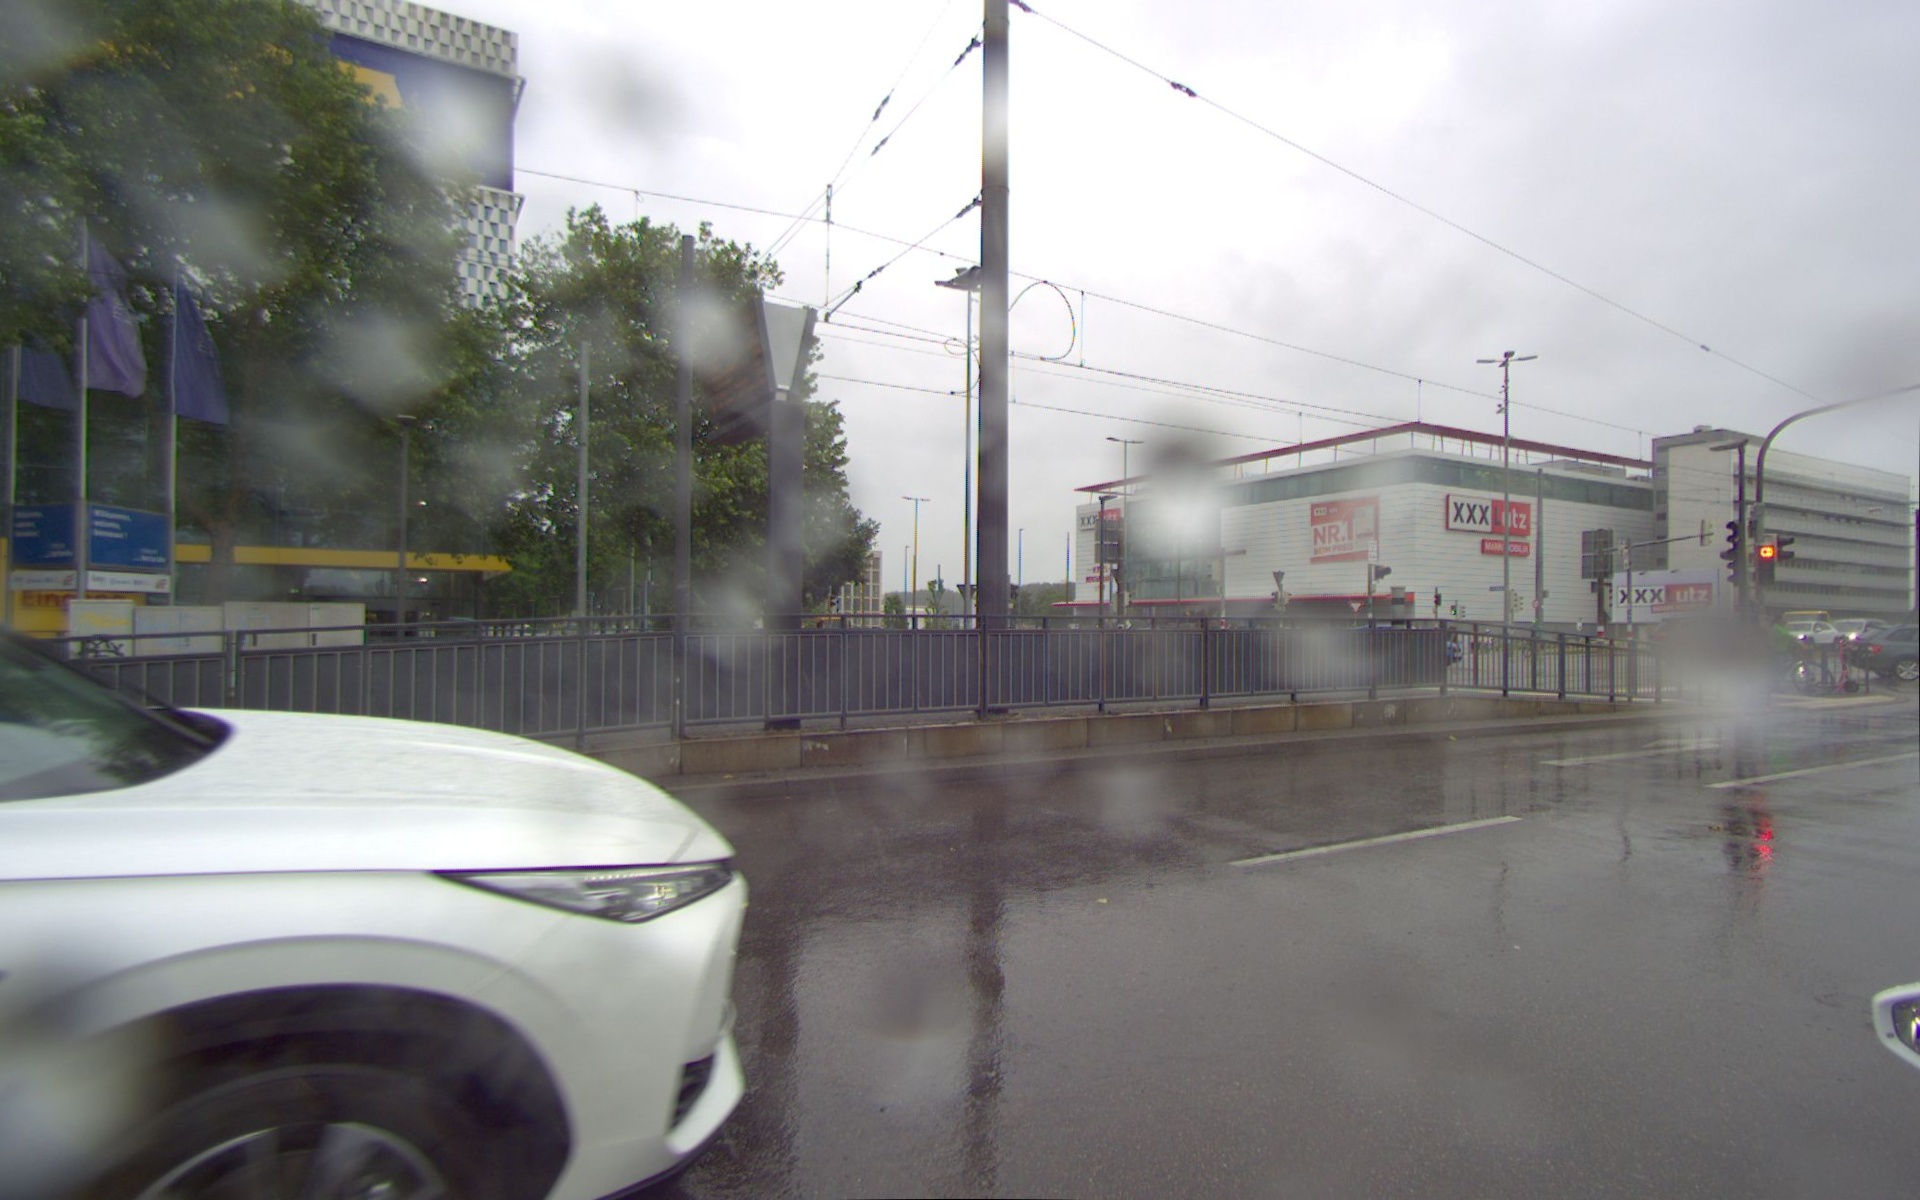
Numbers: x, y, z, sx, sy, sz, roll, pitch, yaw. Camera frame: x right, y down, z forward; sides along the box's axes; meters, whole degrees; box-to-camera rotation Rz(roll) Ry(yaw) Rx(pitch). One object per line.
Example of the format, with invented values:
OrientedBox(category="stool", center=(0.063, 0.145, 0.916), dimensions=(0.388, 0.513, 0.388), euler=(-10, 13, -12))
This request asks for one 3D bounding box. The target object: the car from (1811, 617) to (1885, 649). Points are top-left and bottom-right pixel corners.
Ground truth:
OrientedBox(category="car", center=(44.799, 1.668, 50.669), dimensions=(3.765, 1.445, 1.702), euler=(3, 1, -30))

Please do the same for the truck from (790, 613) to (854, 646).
OrientedBox(category="truck", center=(-11.286, 2.373, 81.691), dimensions=(2.445, 2.240, 7.329), euler=(3, 1, -31))

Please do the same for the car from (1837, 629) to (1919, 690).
OrientedBox(category="car", center=(25.346, 1.618, 25.940), dimensions=(3.728, 1.417, 1.533), euler=(4, 3, 29))

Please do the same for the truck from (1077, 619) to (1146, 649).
OrientedBox(category="truck", center=(11.814, 2.662, 78.791), dimensions=(1.990, 1.968, 5.847), euler=(3, 1, -31))

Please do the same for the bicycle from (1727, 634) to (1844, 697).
OrientedBox(category="bicycle", center=(16.704, 1.310, 20.352), dimensions=(1.724, 1.153, 0.520), euler=(2, 0, 18))

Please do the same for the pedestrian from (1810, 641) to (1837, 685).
OrientedBox(category="pedestrian", center=(18.494, 1.336, 21.515), dimensions=(0.376, 0.909, 0.313), euler=(1, 2, -32))

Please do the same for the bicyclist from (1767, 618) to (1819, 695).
OrientedBox(category="bicyclist", center=(16.840, 1.133, 20.314), dimensions=(0.593, 1.511, 0.600), euler=(2, 0, 20))

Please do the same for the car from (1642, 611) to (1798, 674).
OrientedBox(category="car", center=(24.779, 1.348, 32.934), dimensions=(3.727, 1.696, 1.704), euler=(4, 3, 27))

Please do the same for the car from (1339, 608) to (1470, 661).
OrientedBox(category="car", center=(15.089, 1.143, 34.212), dimensions=(1.639, 1.527, 3.694), euler=(1, 1, -43))

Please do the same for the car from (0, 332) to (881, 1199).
OrientedBox(category="car", center=(-2.639, 0.497, 1.698), dimensions=(4.609, 1.799, 1.921), euler=(2, 0, -30))

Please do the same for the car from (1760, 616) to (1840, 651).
OrientedBox(category="car", center=(39.819, 1.588, 47.616), dimensions=(3.765, 1.445, 1.702), euler=(3, 1, -30))
